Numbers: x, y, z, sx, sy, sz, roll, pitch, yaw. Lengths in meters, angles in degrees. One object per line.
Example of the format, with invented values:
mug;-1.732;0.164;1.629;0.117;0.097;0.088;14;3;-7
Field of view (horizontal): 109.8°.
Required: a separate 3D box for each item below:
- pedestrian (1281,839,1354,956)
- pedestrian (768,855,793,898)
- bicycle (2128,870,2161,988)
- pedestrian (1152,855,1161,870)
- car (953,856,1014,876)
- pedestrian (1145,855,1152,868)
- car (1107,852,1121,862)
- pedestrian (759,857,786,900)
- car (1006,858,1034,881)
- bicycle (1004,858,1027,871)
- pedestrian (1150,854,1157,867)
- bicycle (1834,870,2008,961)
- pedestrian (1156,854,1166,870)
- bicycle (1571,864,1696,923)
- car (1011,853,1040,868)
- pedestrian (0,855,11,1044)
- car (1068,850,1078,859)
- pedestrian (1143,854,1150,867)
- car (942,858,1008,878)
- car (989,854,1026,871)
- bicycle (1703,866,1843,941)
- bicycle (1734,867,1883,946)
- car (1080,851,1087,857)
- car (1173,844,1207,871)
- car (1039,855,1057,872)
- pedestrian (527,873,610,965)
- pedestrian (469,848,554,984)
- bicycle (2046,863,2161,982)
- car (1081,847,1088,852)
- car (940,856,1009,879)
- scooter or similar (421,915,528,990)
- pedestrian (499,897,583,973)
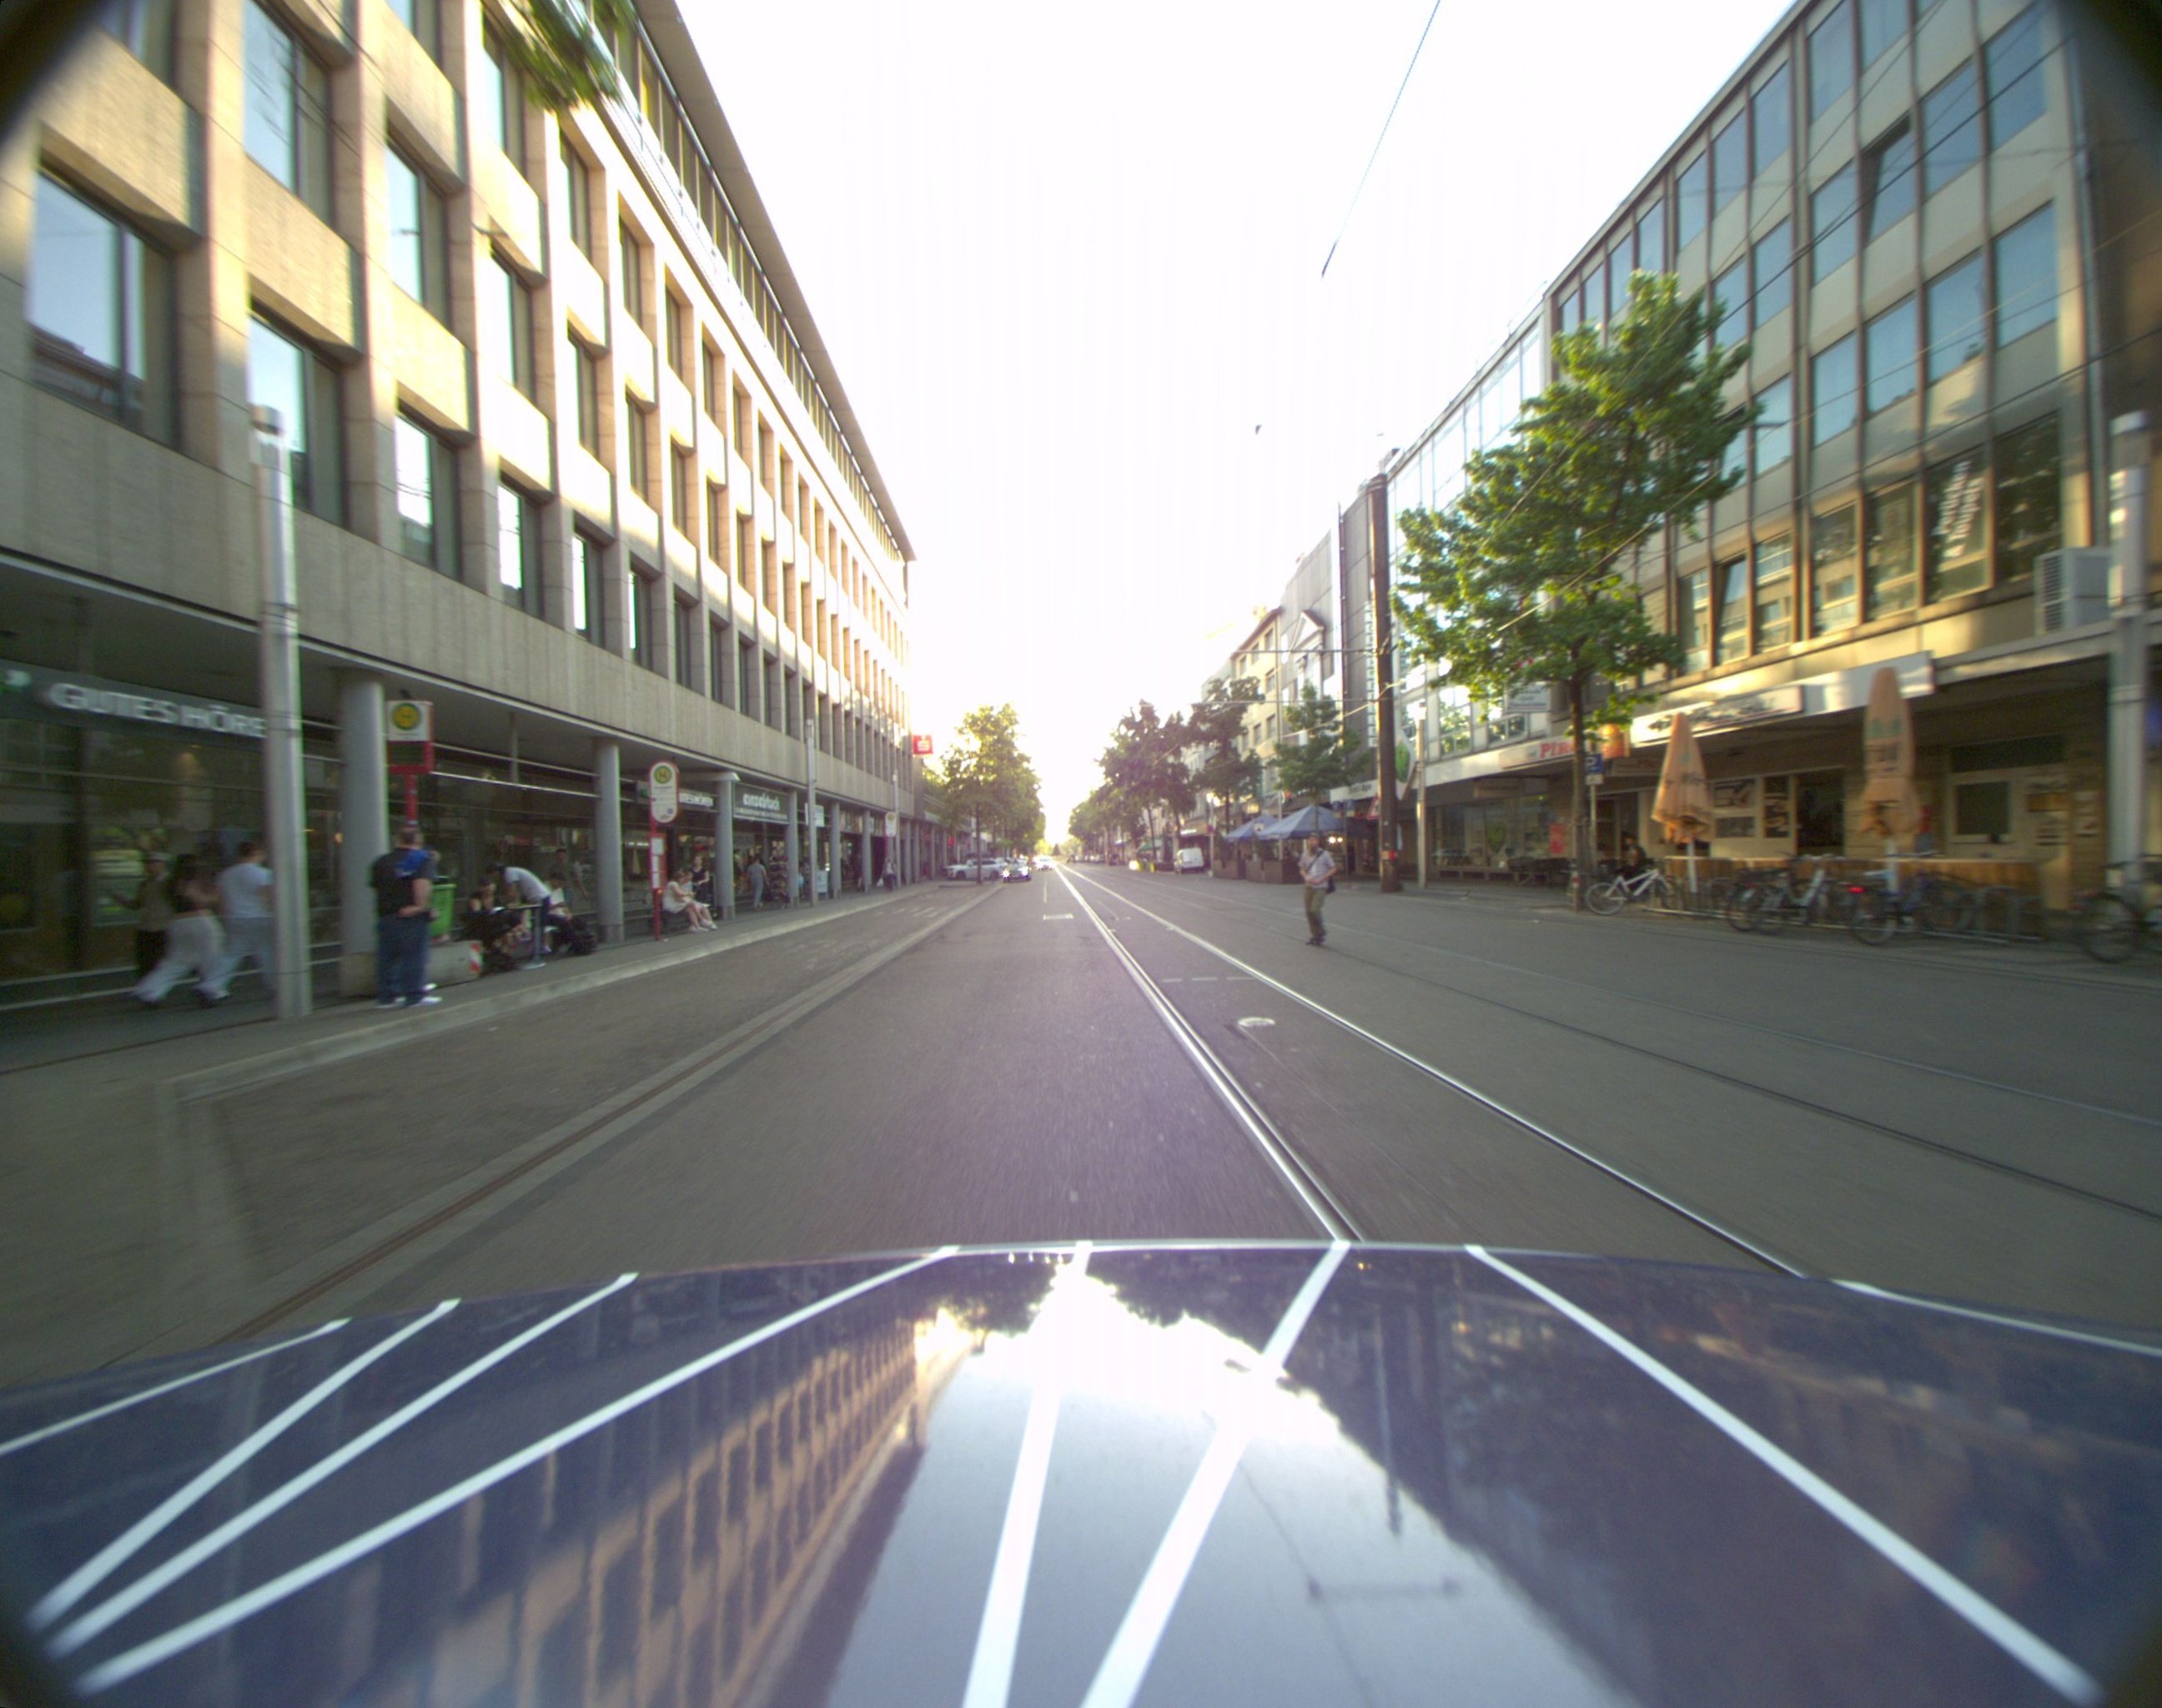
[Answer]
pedestrian;3.787;0.658;12.141;0.820;1.782;0.992;-1;1;35
pedestrian;-12.569;0.911;31.792;0.675;1.762;0.863;-1;1;-3
bicycle;10.908;0.658;7.114;1.777;1.065;0.489;-3;0;-8
pedestrian;7.124;0.781;71.694;0.650;1.451;0.650;-1;1;-1
car;-8.096;0.990;63.083;4.647;1.578;1.913;1;0;-36
pedestrian;6.900;0.770;77.983;0.649;1.378;0.650;-1;0;5
car;5.195;0.438;119.323;1.799;1.501;3.999;-1;0;-1
pedestrian;-12.204;0.959;30.058;0.712;1.634;0.818;-1;1;-3
car;-4.161;1.003;52.309;1.799;1.400;4.563;-2;1;-3
bicycle;-5.929;0.956;68.996;1.861;1.067;0.734;-2;2;26
pedestrian;7.831;0.699;81.941;0.649;1.378;0.650;-1;0;5
bicycle;10.421;0.741;9.438;1.777;0.984;0.489;-3;0;-8
pedestrian;7.444;0.777;70.765;0.648;1.451;0.651;-1;1;28
bicycle;10.151;0.727;13.999;1.774;0.960;0.490;-3;1;15
car;-7.744;0.871;105.489;1.860;1.776;4.007;-4;1;33
pedestrian;-10.239;0.887;6.656;0.584;1.742;0.773;-1;1;-3
car;-1.811;0.158;171.747;1.999;2.002;3.999;-1;0;-1
pedestrian;7.180;0.713;83.128;0.649;1.378;0.650;-1;0;5
car;-8.145;1.064;58.447;4.645;1.431;1.913;1;0;-29
car;-8.964;1.008;92.598;4.004;1.776;1.861;-4;1;-26
bicycle;10.348;0.727;11.376;1.777;0.984;0.489;-3;0;-8
bicycle;10.376;0.730;10.849;1.777;0.984;0.489;-3;0;-8
car;0.637;-0.033;191.113;1.799;1.501;3.999;-1;0;-1
car;8.226;0.267;57.628;1.831;1.811;4.329;-4;0;0
car;-3.926;1.126;90.979;1.999;2.002;3.999;-1;0;-1
pedestrian;-8.174;1.021;12.150;0.815;1.373;0.662;-2;1;-1
pedestrian;-7.862;0.831;10.522;0.641;1.829;0.667;-1;1;-1
bicycle;10.866;0.655;7.691;1.777;1.065;0.489;-3;0;-8
car;1.073;-1.274;238.518;1.799;1.501;3.999;-1;0;-1
car;-7.760;0.998;55.758;4.646;1.619;1.913;1;-2;-34
scooter or similar;-8.014;1.296;10.060;0.834;0.879;0.687;-3;1;12
pedestrian;-8.060;1.197;11.356;0.815;1.036;0.544;-2;1;-1
